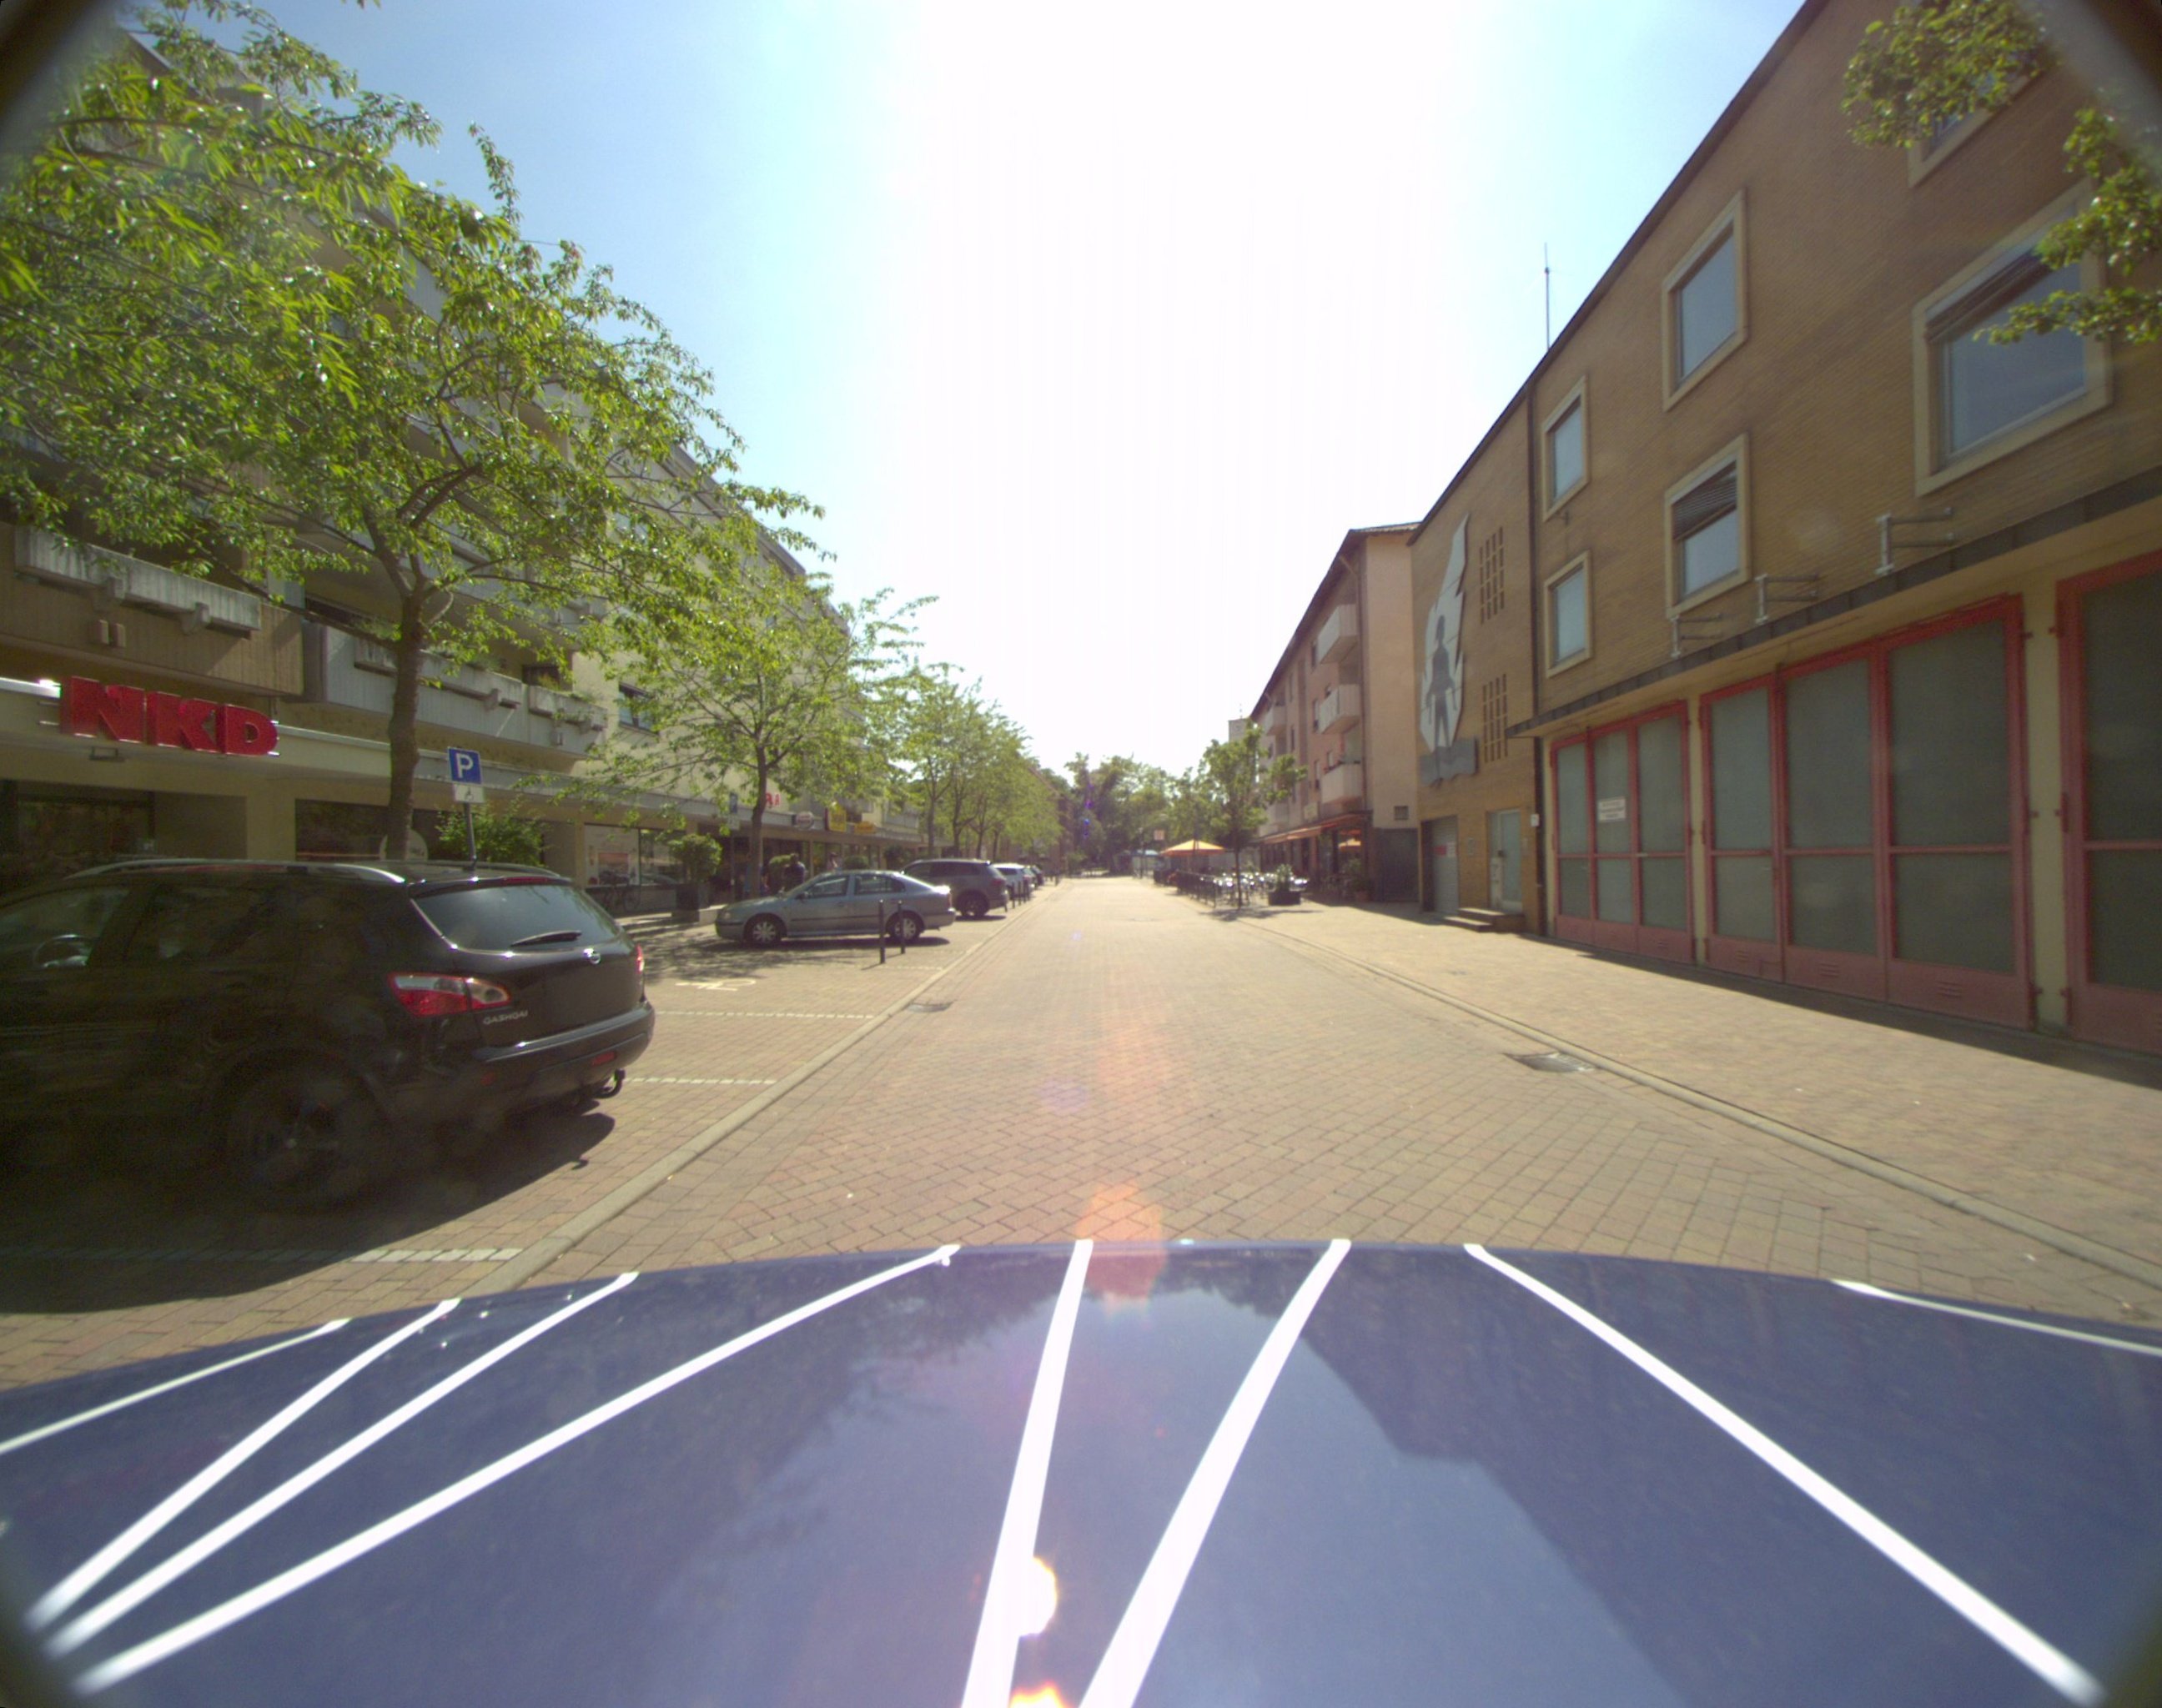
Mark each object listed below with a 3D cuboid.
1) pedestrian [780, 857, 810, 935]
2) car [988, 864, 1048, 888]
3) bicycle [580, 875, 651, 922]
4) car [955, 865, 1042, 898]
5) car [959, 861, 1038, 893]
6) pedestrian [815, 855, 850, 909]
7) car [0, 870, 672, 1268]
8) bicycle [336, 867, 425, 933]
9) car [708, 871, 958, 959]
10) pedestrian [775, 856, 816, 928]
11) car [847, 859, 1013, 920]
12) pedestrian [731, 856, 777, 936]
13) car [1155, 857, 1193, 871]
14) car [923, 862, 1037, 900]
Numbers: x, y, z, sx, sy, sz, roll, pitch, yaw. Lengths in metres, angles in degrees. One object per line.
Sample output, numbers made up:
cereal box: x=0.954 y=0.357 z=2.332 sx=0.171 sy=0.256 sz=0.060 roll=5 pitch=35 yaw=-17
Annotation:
pedestrian: x=-6.710 y=0.969 z=17.856 sx=0.606 sy=1.785 sz=0.627 roll=-2 pitch=0 yaw=-20
car: x=-3.727 y=1.302 z=45.200 sx=3.401 sy=1.382 sz=1.460 roll=0 pitch=0 yaw=2
bicycle: x=-12.109 y=1.135 z=19.848 sx=0.643 sy=1.075 sz=1.866 roll=-2 pitch=0 yaw=1
car: x=-3.780 y=1.260 z=35.092 sx=3.800 sy=1.423 sz=1.614 roll=0 pitch=0 yaw=2
car: x=-4.049 y=1.129 z=37.657 sx=3.652 sy=1.508 sz=1.633 roll=0 pitch=0 yaw=2
pedestrian: x=-8.322 y=0.921 z=25.435 sx=0.759 sy=1.770 sz=0.871 roll=-1 pitch=0 yaw=8
car: x=-4.681 y=0.929 z=4.115 sx=4.036 sy=1.602 sz=1.681 roll=1 pitch=0 yaw=2
bicycle: x=-12.221 y=0.781 z=13.293 sx=0.361 sy=1.061 sz=1.313 roll=-2 pitch=1 yaw=-4
car: x=-4.793 y=1.108 z=15.011 sx=4.391 sy=1.455 sz=1.887 roll=-1 pitch=0 yaw=-19
pedestrian: x=-7.077 y=0.930 z=18.853 sx=0.614 sy=1.721 sz=0.649 roll=-2 pitch=1 yaw=35
car: x=-4.112 y=0.957 z=21.166 sx=4.254 sy=1.608 sz=1.757 roll=0 pitch=0 yaw=0
pedestrian: x=-7.443 y=0.936 z=17.321 sx=0.630 sy=1.763 sz=0.688 roll=-1 pitch=0 yaw=35
car: x=10.868 y=1.143 z=88.546 sx=1.899 sy=1.547 sz=5.043 roll=-1 pitch=0 yaw=40
car: x=-4.265 y=1.132 z=32.551 sx=4.585 sy=1.534 sz=1.807 roll=0 pitch=0 yaw=2
